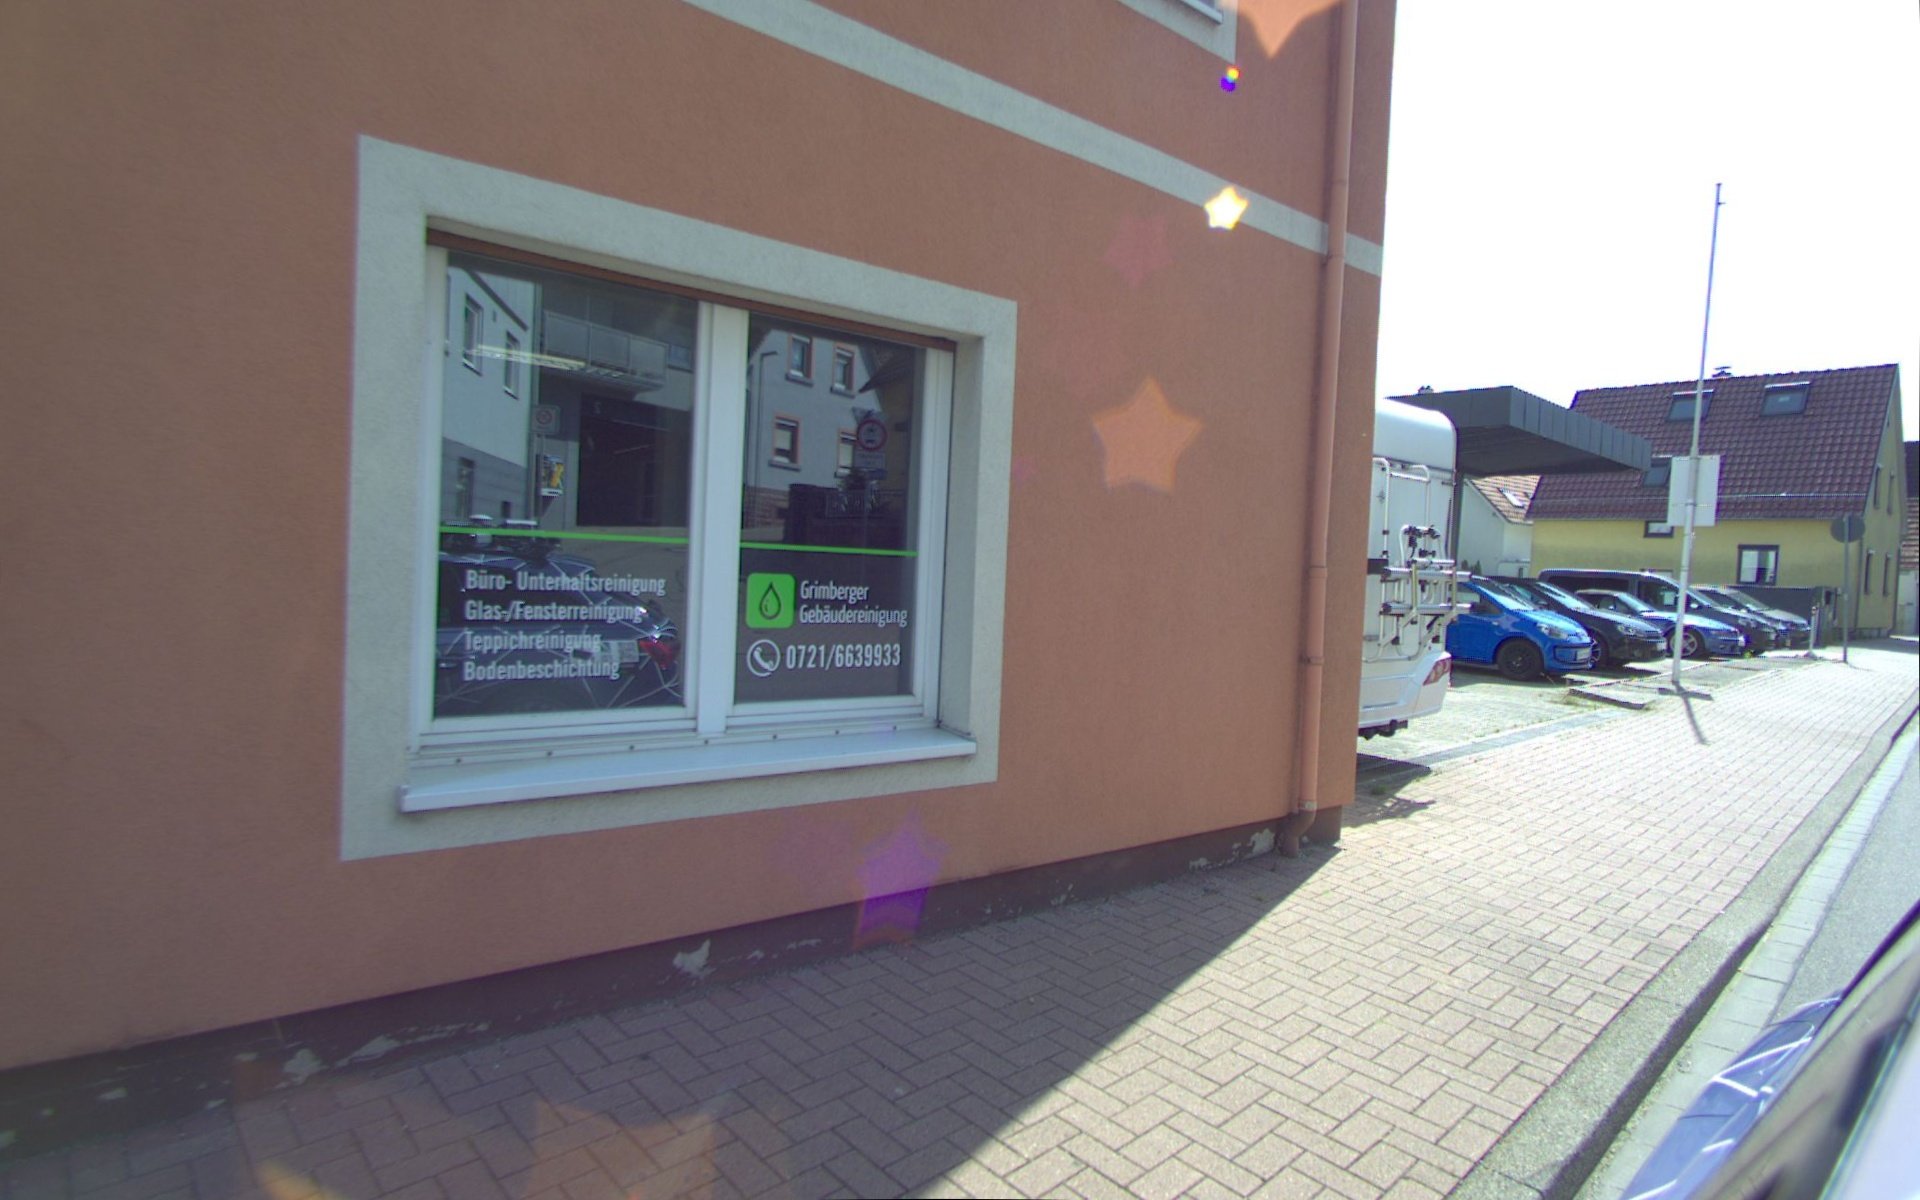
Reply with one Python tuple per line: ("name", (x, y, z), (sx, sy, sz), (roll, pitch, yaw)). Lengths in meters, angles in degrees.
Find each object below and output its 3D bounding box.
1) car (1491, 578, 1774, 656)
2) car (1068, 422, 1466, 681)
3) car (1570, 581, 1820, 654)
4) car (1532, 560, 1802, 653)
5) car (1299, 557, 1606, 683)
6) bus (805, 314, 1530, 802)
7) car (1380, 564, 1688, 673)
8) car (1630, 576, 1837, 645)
("car", (13.931, 0.286, 21.223), (1.930, 1.283, 4.551), (1, 3, -39))
("car", (4.096, -0.698, 15.044), (2.269, 3.023, 5.994), (2, 2, -22))
("car", (18.010, 0.366, 25.005), (1.876, 1.516, 4.647), (1, 2, -39))
("car", (15.902, 0.042, 22.996), (1.930, 1.832, 4.647), (0, 3, -39))
("car", (7.259, 0.204, 15.216), (1.555, 1.547, 3.808), (0, 3, -41))
("bus", (1.226, -0.494, 9.356), (2.189, 2.940, 6.584), (0, 4, -39))
("car", (9.543, 0.221, 17.124), (1.696, 1.499, 4.172), (1, 3, -39))
("car", (22.099, 0.336, 29.077), (1.705, 1.768, 4.340), (-2, -1, -35))
